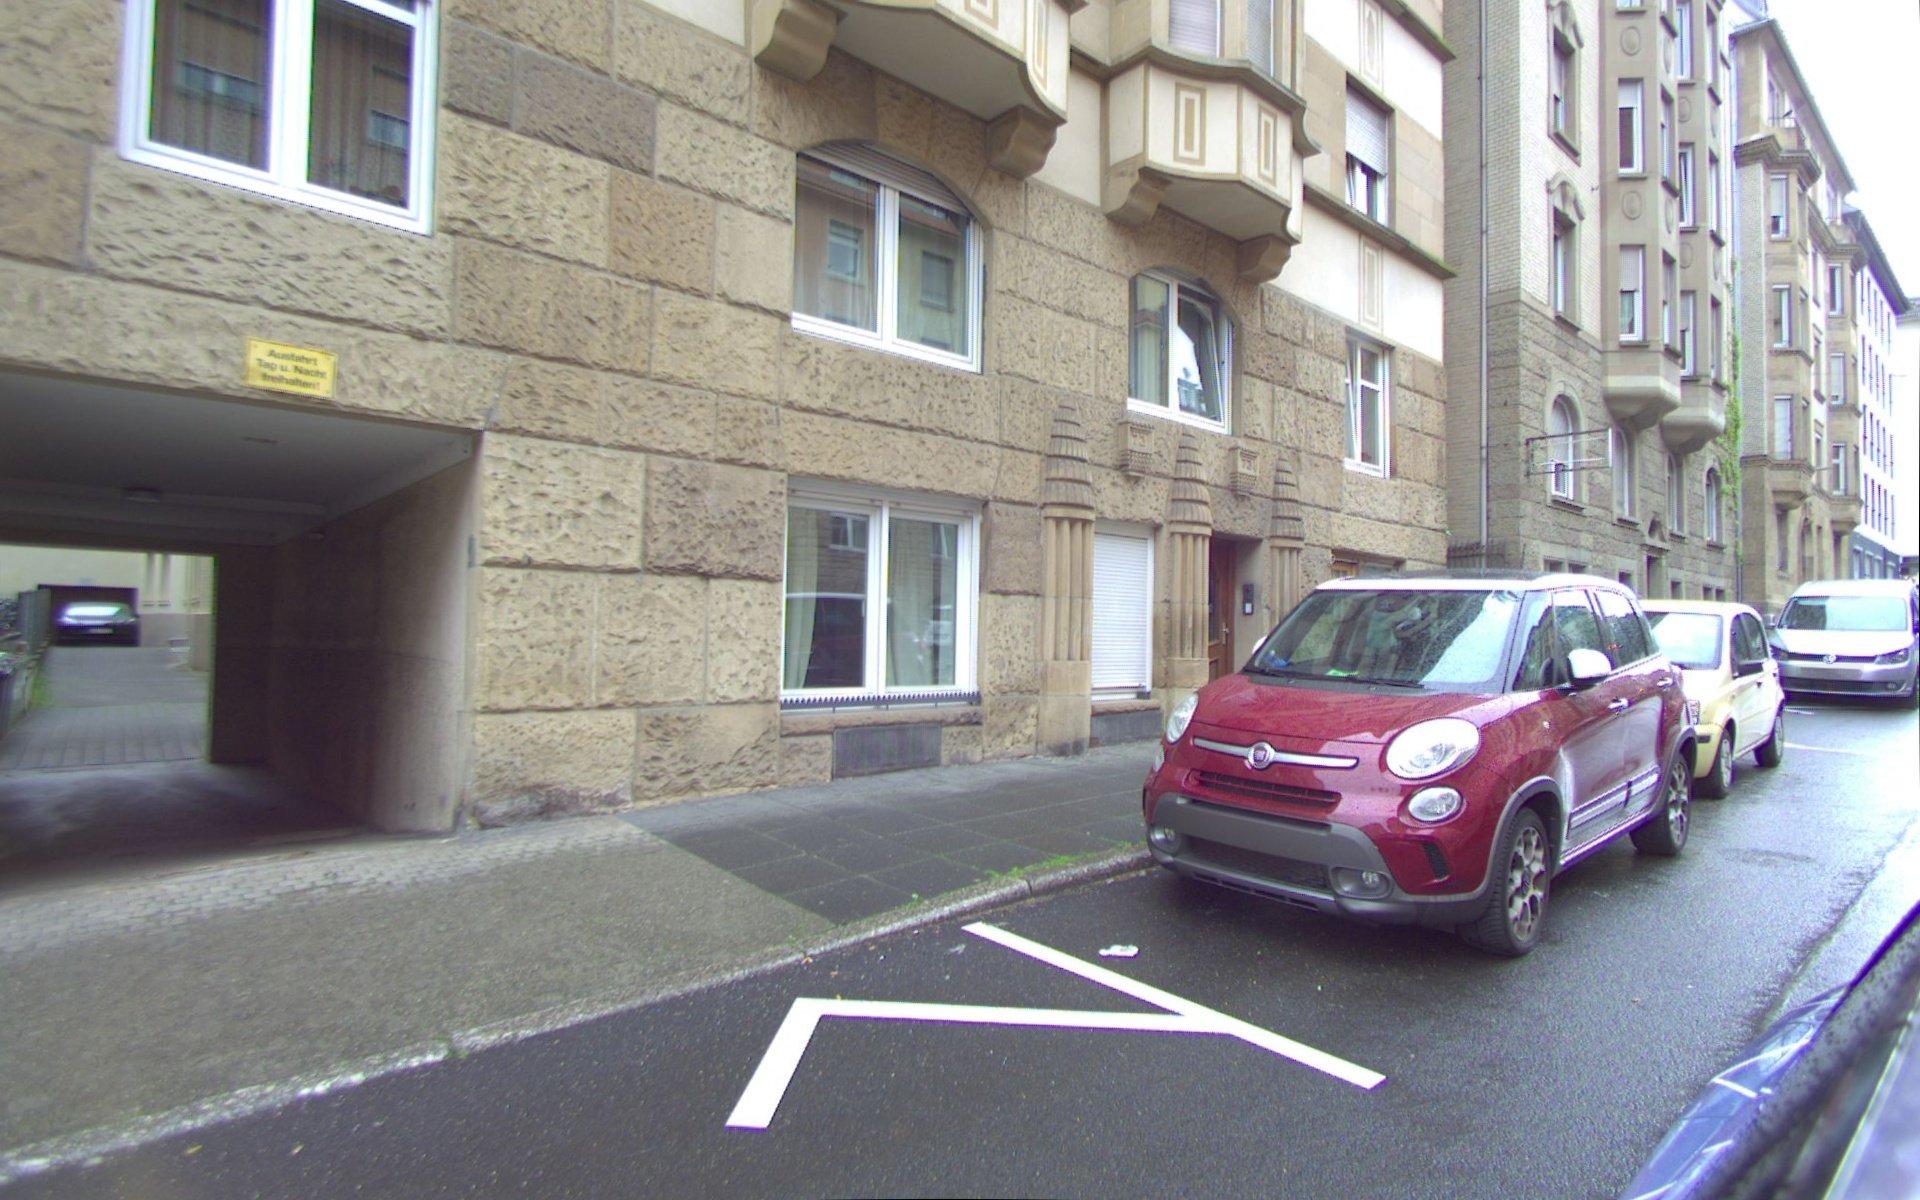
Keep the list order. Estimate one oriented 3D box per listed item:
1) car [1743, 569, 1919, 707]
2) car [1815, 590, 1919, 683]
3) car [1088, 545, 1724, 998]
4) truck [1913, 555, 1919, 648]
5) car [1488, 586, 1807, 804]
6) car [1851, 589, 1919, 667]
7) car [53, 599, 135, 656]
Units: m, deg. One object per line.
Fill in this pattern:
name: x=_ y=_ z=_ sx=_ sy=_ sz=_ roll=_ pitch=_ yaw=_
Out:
car: x=13.767 y=0.504 z=15.510 sx=4.380 sy=1.825 sz=1.966 roll=0 pitch=-1 yaw=-41
car: x=17.175 y=0.604 z=18.501 sx=3.934 sy=1.549 sz=1.994 roll=0 pitch=-1 yaw=-45
car: x=2.682 y=0.615 z=5.632 sx=3.932 sy=1.619 sz=1.804 roll=0 pitch=-1 yaw=-42
truck: x=29.167 y=0.027 z=28.879 sx=6.036 sy=2.568 sz=2.234 roll=0 pitch=-1 yaw=-41
car: x=6.203 y=0.679 z=8.993 sx=3.517 sy=1.549 sz=1.578 roll=0 pitch=-1 yaw=-43
car: x=20.481 y=0.551 z=21.441 sx=3.860 sy=1.549 sz=1.889 roll=0 pitch=-1 yaw=-41
car: x=-25.181 y=0.755 z=29.458 sx=1.692 sy=1.541 sz=4.098 roll=0 pitch=-1 yaw=-41
